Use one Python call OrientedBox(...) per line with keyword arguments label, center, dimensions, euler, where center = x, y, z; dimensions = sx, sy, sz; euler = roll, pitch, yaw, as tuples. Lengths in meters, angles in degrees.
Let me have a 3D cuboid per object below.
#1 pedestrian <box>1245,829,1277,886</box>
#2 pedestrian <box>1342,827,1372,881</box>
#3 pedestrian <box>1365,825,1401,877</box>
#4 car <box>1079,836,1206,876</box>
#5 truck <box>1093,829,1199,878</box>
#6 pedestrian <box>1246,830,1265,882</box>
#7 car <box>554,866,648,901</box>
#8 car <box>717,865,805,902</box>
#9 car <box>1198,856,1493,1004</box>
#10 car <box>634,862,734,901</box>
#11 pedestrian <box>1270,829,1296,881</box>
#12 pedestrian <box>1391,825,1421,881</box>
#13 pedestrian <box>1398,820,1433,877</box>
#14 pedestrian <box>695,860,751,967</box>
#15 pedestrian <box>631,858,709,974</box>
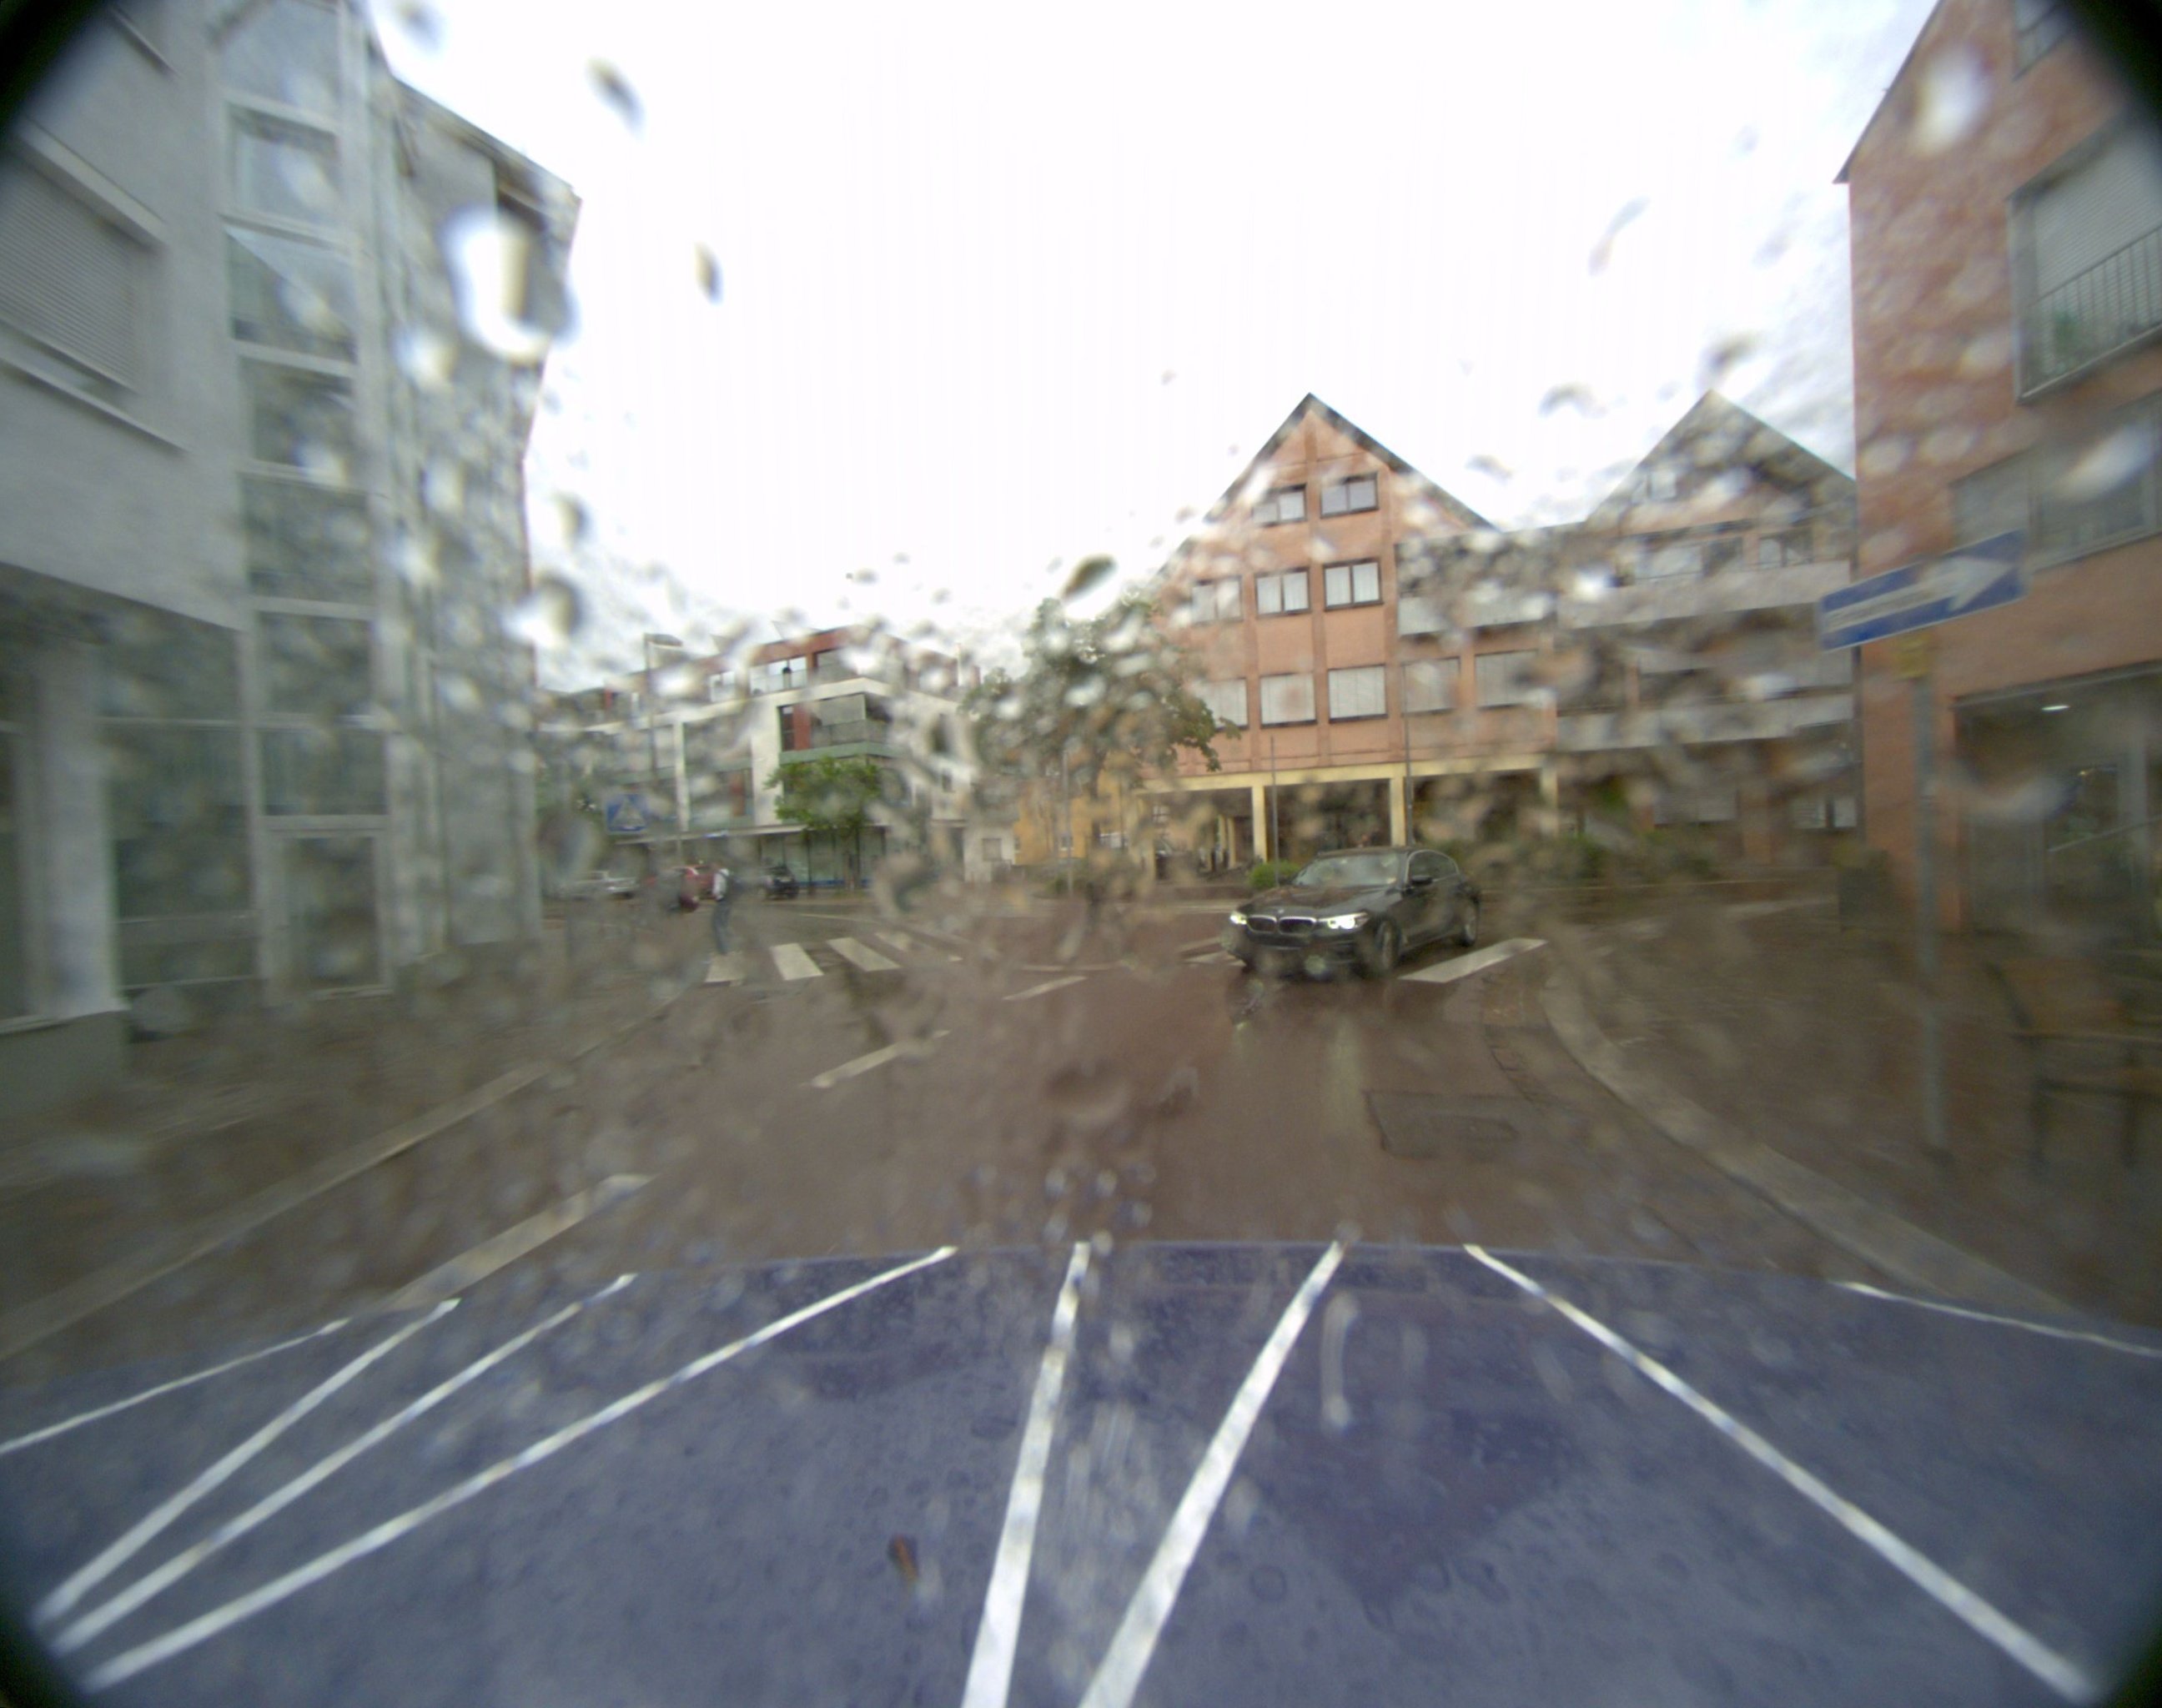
OrientedBox(label="pedestrian", center=(5.762, 0.100, 24.310), dimensions=(0.891, 1.739, 0.736), euler=(-3, 1, 16))
OrientedBox(label="pedestrian", center=(8.580, -0.011, 23.607), dimensions=(0.823, 1.596, 0.745), euler=(-2, 4, 21))
OrientedBox(label="pedestrian", center=(9.649, -0.109, 24.285), dimensions=(0.798, 1.609, 0.706), euler=(-4, 2, -35))
OrientedBox(label="car", center=(2.351, 0.080, 28.738), dimensions=(4.463, 1.268, 1.770), euler=(-3, 1, 16))
OrientedBox(label="truck", center=(2.687, -0.030, 31.285), dimensions=(3.992, 1.798, 1.770), euler=(-3, 1, 17))
OrientedBox(label="pedestrian", center=(5.736, 0.055, 24.983), dimensions=(0.520, 1.654, 0.542), euler=(-3, 2, 17))
OrientedBox(label="car", center=(-22.989, 1.420, 36.414), dimensions=(3.991, 1.406, 1.622), euler=(-2, 4, 20))
OrientedBox(label="car", center=(-13.387, 1.190, 31.755), dimensions=(3.364, 1.355, 1.544), euler=(0, 3, 28))
OrientedBox(label="car", center=(3.691, 0.797, 10.112), dimensions=(4.428, 1.394, 1.943), euler=(-3, 2, -45))
OrientedBox(label="car", center=(-17.804, 1.247, 34.085), dimensions=(3.991, 1.493, 1.630), euler=(-2, 4, 21))
OrientedBox(label="pedestrian", center=(6.689, 0.017, 25.162), dimensions=(0.741, 1.680, 0.636), euler=(-3, 2, 18))
OrientedBox(label="pedestrian", center=(10.053, -0.052, 23.546), dimensions=(0.732, 1.680, 0.726), euler=(-3, 2, 18))
OrientedBox(label="pedestrian", center=(10.026, -0.155, 22.781), dimensions=(0.819, 1.652, 0.699), euler=(-3, 2, 17))
OrientedBox(label="pedestrian", center=(-6.396, 1.021, 13.552), dimensions=(0.666, 1.796, 1.058), euler=(-4, 2, -33))
OrientedBox(label="pedestrian", center=(-6.796, 0.995, 12.557), dimensions=(1.055, 1.790, 0.696), euler=(-2, 2, 40))
